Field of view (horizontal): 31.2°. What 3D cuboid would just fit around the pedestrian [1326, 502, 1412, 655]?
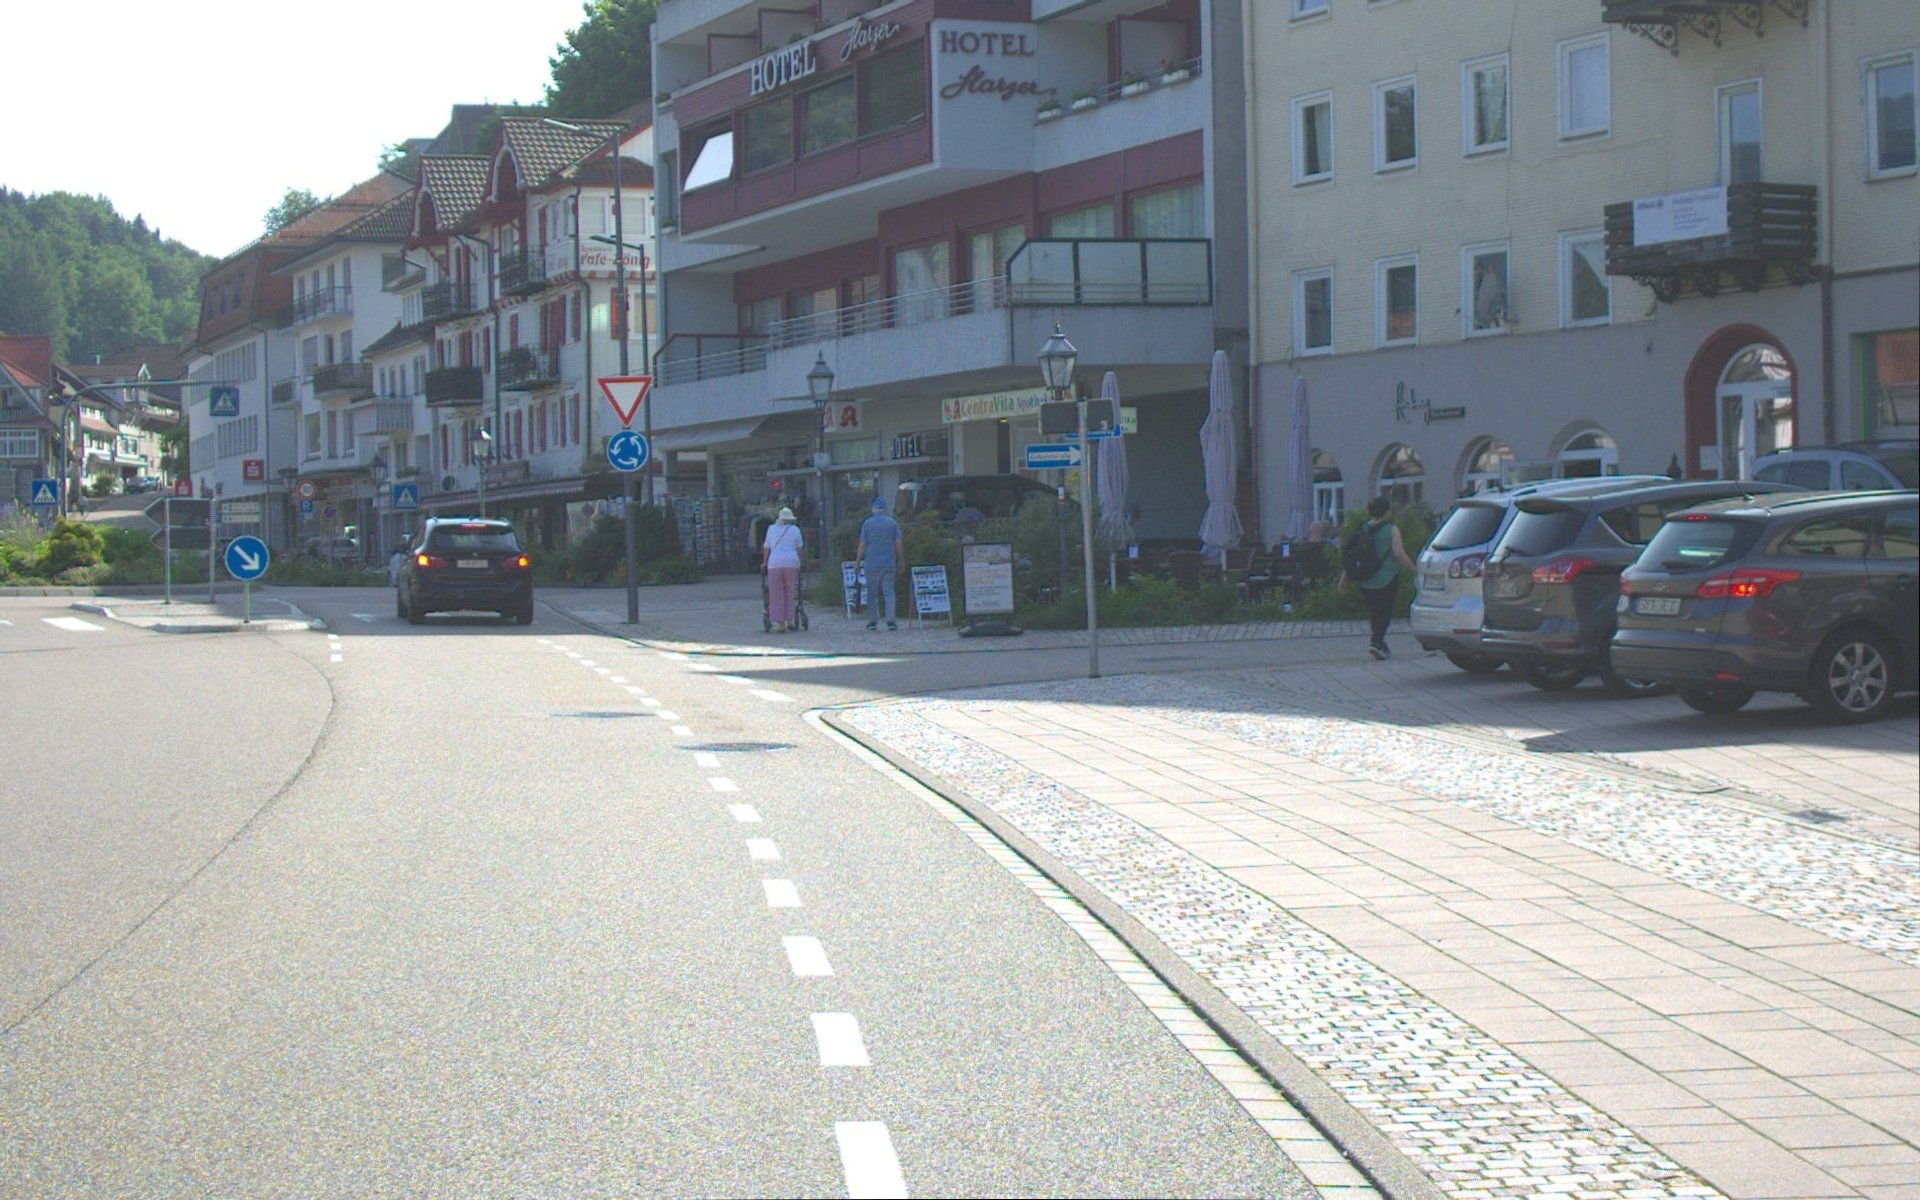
[{"bbox_3d":[3.968,-0.212,33.384,0.735,1.437,0.633,-3,1,4],"label":"pedestrian"}]

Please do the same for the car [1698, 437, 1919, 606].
[{"bbox_3d":[11.129,-1.011,42.759,1.857,2.006,3.679,-1,3,-28],"label":"car"}]

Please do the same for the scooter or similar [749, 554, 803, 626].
[{"bbox_3d":[-2.460,-0.142,45.861,0.596,0.947,0.474,-1,1,-20],"label":"scooter or similar"}]

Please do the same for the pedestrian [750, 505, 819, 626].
[{"bbox_3d":[-2.338,-0.462,45.774,0.757,1.588,0.628,-1,1,-20],"label":"pedestrian"}]

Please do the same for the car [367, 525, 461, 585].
[{"bbox_3d":[-14.962,-1.243,94.086,1.676,1.615,4.001,-1,1,-22],"label":"car"}]

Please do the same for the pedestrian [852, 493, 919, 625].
[{"bbox_3d":[-0.981,-0.543,45.192,0.668,1.723,0.708,-1,1,-20],"label":"pedestrian"}]

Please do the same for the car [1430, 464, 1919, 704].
[{"bbox_3d":[5.790,-0.165,26.424,3.860,1.544,1.773,-4,3,-17],"label":"car"}]

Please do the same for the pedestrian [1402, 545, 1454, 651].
[{"bbox_3d":[4.537,-0.024,33.347,0.417,0.998,0.531,-3,1,3],"label":"pedestrian"}]

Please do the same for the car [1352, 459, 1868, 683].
[{"bbox_3d":[5.508,-0.286,29.222,3.860,1.607,1.773,-4,3,-17],"label":"car"}]

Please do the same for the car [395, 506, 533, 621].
[{"bbox_3d":[-7.394,-0.572,51.000,1.727,1.569,3.754,-1,3,-13],"label":"car"}]

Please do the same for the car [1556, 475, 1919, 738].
[{"bbox_3d":[6.260,-0.045,23.101,4.008,1.511,1.773,-4,3,-17],"label":"car"}]

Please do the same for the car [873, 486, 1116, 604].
[{"bbox_3d":[0.491,-0.801,49.764,3.162,1.657,1.595,-1,1,-18],"label":"car"}]
